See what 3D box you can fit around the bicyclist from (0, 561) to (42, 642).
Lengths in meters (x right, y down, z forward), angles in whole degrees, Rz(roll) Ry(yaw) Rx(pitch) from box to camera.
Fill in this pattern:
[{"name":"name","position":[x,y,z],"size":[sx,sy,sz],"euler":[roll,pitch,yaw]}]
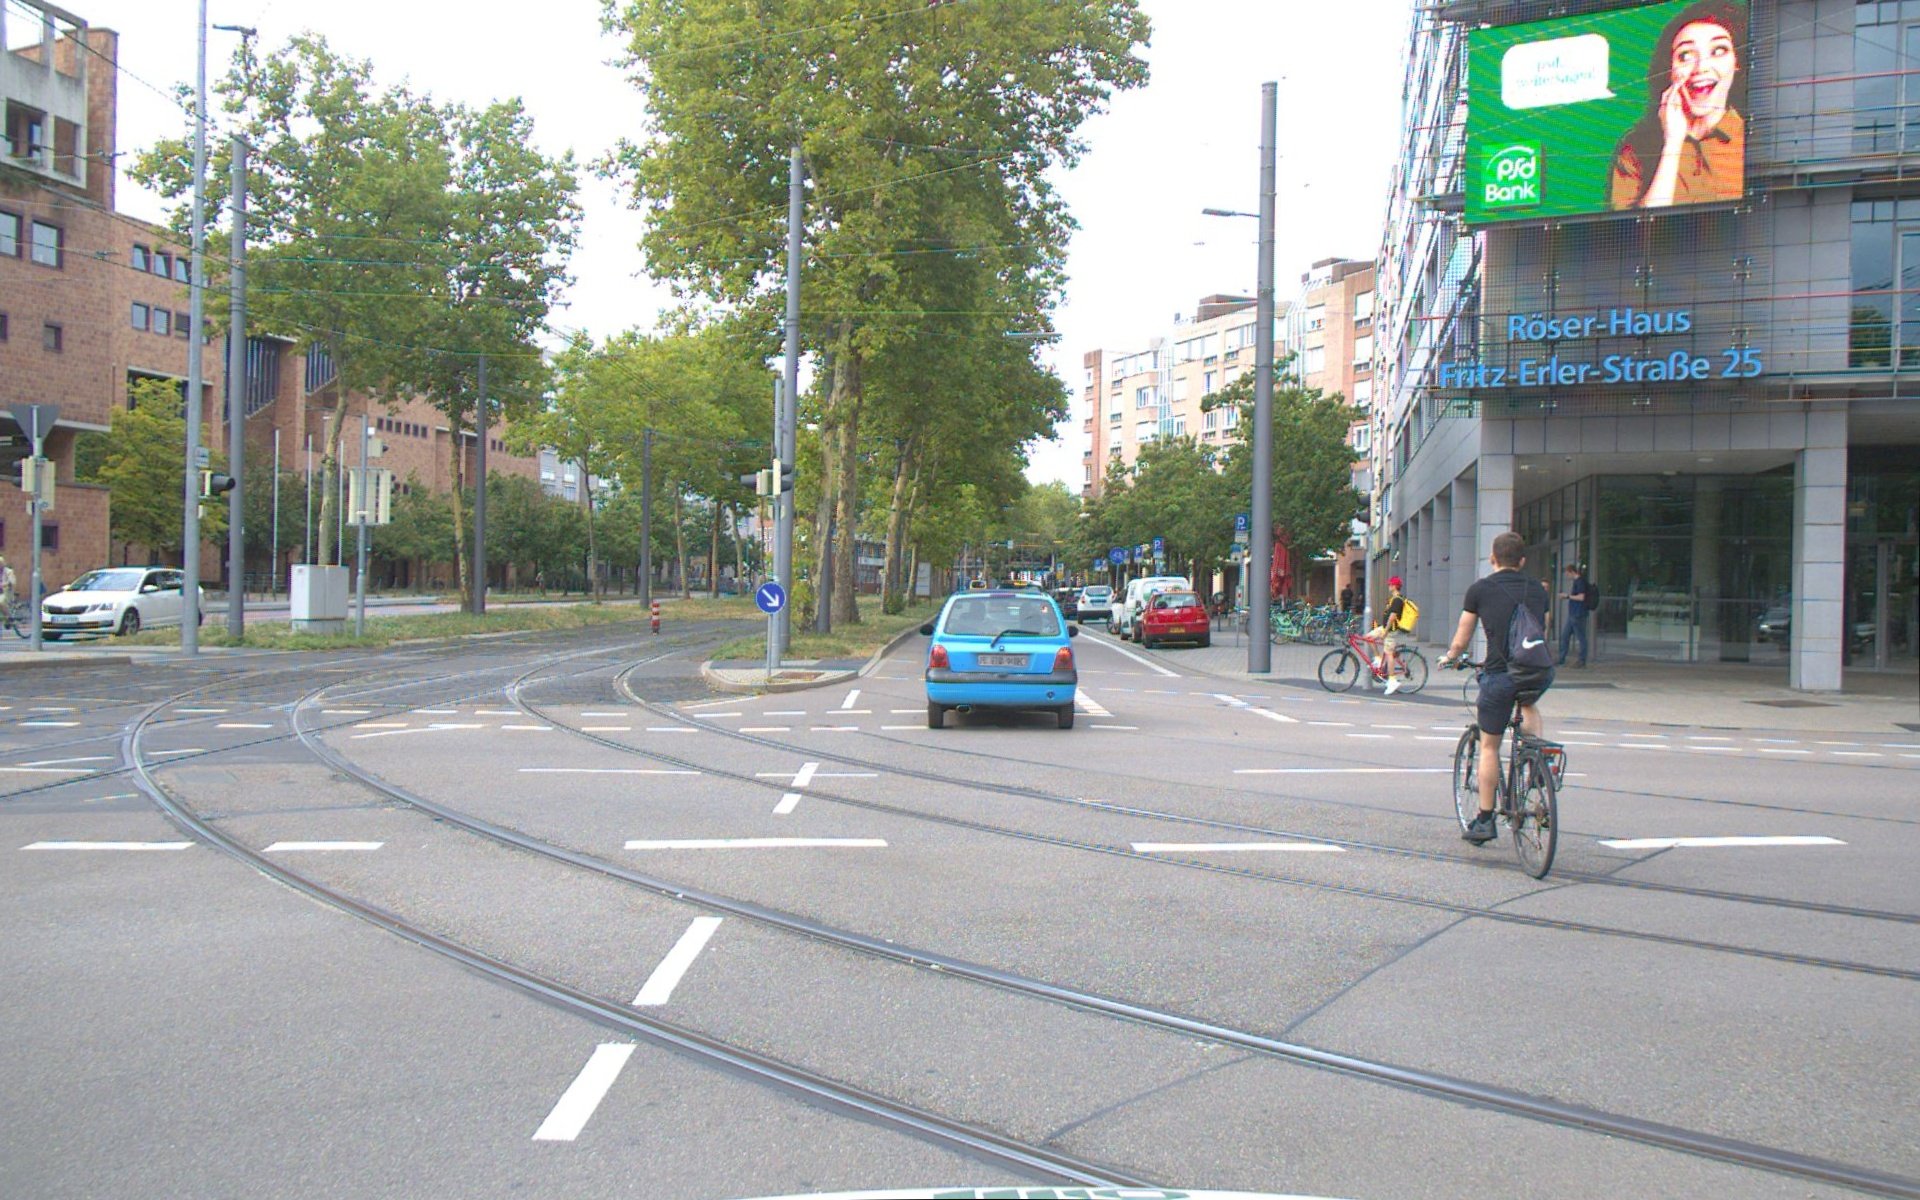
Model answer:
[{"name":"bicyclist","position":[-19.472,0.022,33.966],"size":[0.707,1.637,0.901],"euler":[1,1,0]}]

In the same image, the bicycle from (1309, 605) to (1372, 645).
[{"name":"bicycle","position":[9.805,0.645,42.666],"size":[1.527,1.004,0.422],"euler":[0,1,-4]}]

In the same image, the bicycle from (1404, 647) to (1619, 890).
[{"name":"bicycle","position":[3.152,0.908,9.657],"size":[0.582,1.158,2.091],"euler":[1,1,1]}]

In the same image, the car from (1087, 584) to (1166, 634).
[{"name":"car","position":[5.735,0.292,57.562],"size":[1.955,1.631,4.579],"euler":[1,0,-4]}]

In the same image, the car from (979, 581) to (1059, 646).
[{"name":"car","position":[1.636,0.316,44.563],"size":[1.737,1.604,4.308],"euler":[-1,1,7]}]

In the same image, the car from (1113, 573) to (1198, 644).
[{"name":"car","position":[5.636,0.199,48.173],"size":[1.790,1.897,4.647],"euler":[-1,1,-2]}]

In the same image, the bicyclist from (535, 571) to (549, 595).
[{"name":"bicyclist","position":[-28.534,-1.186,112.842],"size":[0.650,1.618,0.985],"euler":[1,1,4]}]

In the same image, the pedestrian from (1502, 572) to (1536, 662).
[{"name":"pedestrian","position":[11.085,0.328,32.830],"size":[0.534,1.756,0.644],"euler":[1,2,12]}]

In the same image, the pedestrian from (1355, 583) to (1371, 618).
[{"name":"pedestrian","position":[18.553,0.029,76.117],"size":[0.695,1.582,0.799],"euler":[1,1,14]}]

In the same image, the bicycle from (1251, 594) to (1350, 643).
[{"name":"bicycle","position":[9.350,0.511,45.444],"size":[2.578,1.280,0.655],"euler":[1,1,1]}]

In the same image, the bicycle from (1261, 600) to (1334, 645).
[{"name":"bicycle","position":[8.789,0.581,43.077],"size":[1.813,1.158,0.492],"euler":[0,1,-6]}]

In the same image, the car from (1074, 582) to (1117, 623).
[{"name":"car","position":[5.891,0.085,72.231],"size":[1.822,1.682,4.166],"euler":[0,1,4]}]

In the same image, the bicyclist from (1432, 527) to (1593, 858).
[{"name":"bicyclist","position":[3.151,0.494,9.510],"size":[0.577,1.799,1.035],"euler":[0,1,1]}]

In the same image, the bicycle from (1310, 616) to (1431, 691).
[{"name":"bicycle","position":[6.732,0.861,27.106],"size":[1.859,1.158,0.727],"euler":[1,1,19]}]

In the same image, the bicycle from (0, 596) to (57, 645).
[{"name":"bicycle","position":[-19.483,0.407,33.949],"size":[0.715,0.933,2.123],"euler":[1,1,0]}]

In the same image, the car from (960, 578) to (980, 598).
[{"name":"car","position":[1.040,-1.243,167.692],"size":[1.892,1.959,4.957],"euler":[1,1,1]}]

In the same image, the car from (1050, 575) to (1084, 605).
[{"name":"car","position":[5.598,-0.542,86.874],"size":[1.703,1.545,4.403],"euler":[0,1,2]}]

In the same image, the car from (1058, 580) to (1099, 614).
[{"name":"car","position":[5.835,-0.171,81.732],"size":[1.680,1.545,4.204],"euler":[-1,1,0]}]

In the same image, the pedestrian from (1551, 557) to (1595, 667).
[{"name":"pedestrian","position":[11.758,0.225,31.729],"size":[0.589,2.048,0.676],"euler":[1,4,7]}]

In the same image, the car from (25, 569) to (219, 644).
[{"name":"car","position":[-17.530,0.082,34.866],"size":[1.747,1.446,4.658],"euler":[1,1,0]}]

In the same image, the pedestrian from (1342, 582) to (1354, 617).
[{"name":"pedestrian","position":[17.874,-0.030,76.228],"size":[0.501,1.582,0.473],"euler":[1,1,14]}]

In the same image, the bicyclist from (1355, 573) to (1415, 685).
[{"name":"bicyclist","position":[6.950,0.454,27.023],"size":[0.894,1.795,0.720],"euler":[1,1,18]}]

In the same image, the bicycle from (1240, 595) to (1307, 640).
[{"name":"bicycle","position":[8.967,0.494,47.378],"size":[1.868,1.218,0.480],"euler":[1,1,8]}]

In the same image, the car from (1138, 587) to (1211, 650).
[{"name":"car","position":[5.597,0.443,43.439],"size":[1.686,1.457,4.256],"euler":[-1,1,5]}]

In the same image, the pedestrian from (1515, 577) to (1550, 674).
[{"name":"pedestrian","position":[10.597,0.459,30.613],"size":[0.543,1.756,0.495],"euler":[1,2,22]}]

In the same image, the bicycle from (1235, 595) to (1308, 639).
[{"name":"bicycle","position":[9.007,0.487,47.866],"size":[2.011,1.218,0.480],"euler":[1,1,8]}]

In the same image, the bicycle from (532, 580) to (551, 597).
[{"name":"bicycle","position":[-28.546,-0.792,112.842],"size":[0.654,1.103,2.095],"euler":[1,1,4]}]

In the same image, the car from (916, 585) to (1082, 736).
[{"name":"car","position":[0.442,0.586,18.398],"size":[1.606,1.410,3.844],"euler":[2,1,1]}]
